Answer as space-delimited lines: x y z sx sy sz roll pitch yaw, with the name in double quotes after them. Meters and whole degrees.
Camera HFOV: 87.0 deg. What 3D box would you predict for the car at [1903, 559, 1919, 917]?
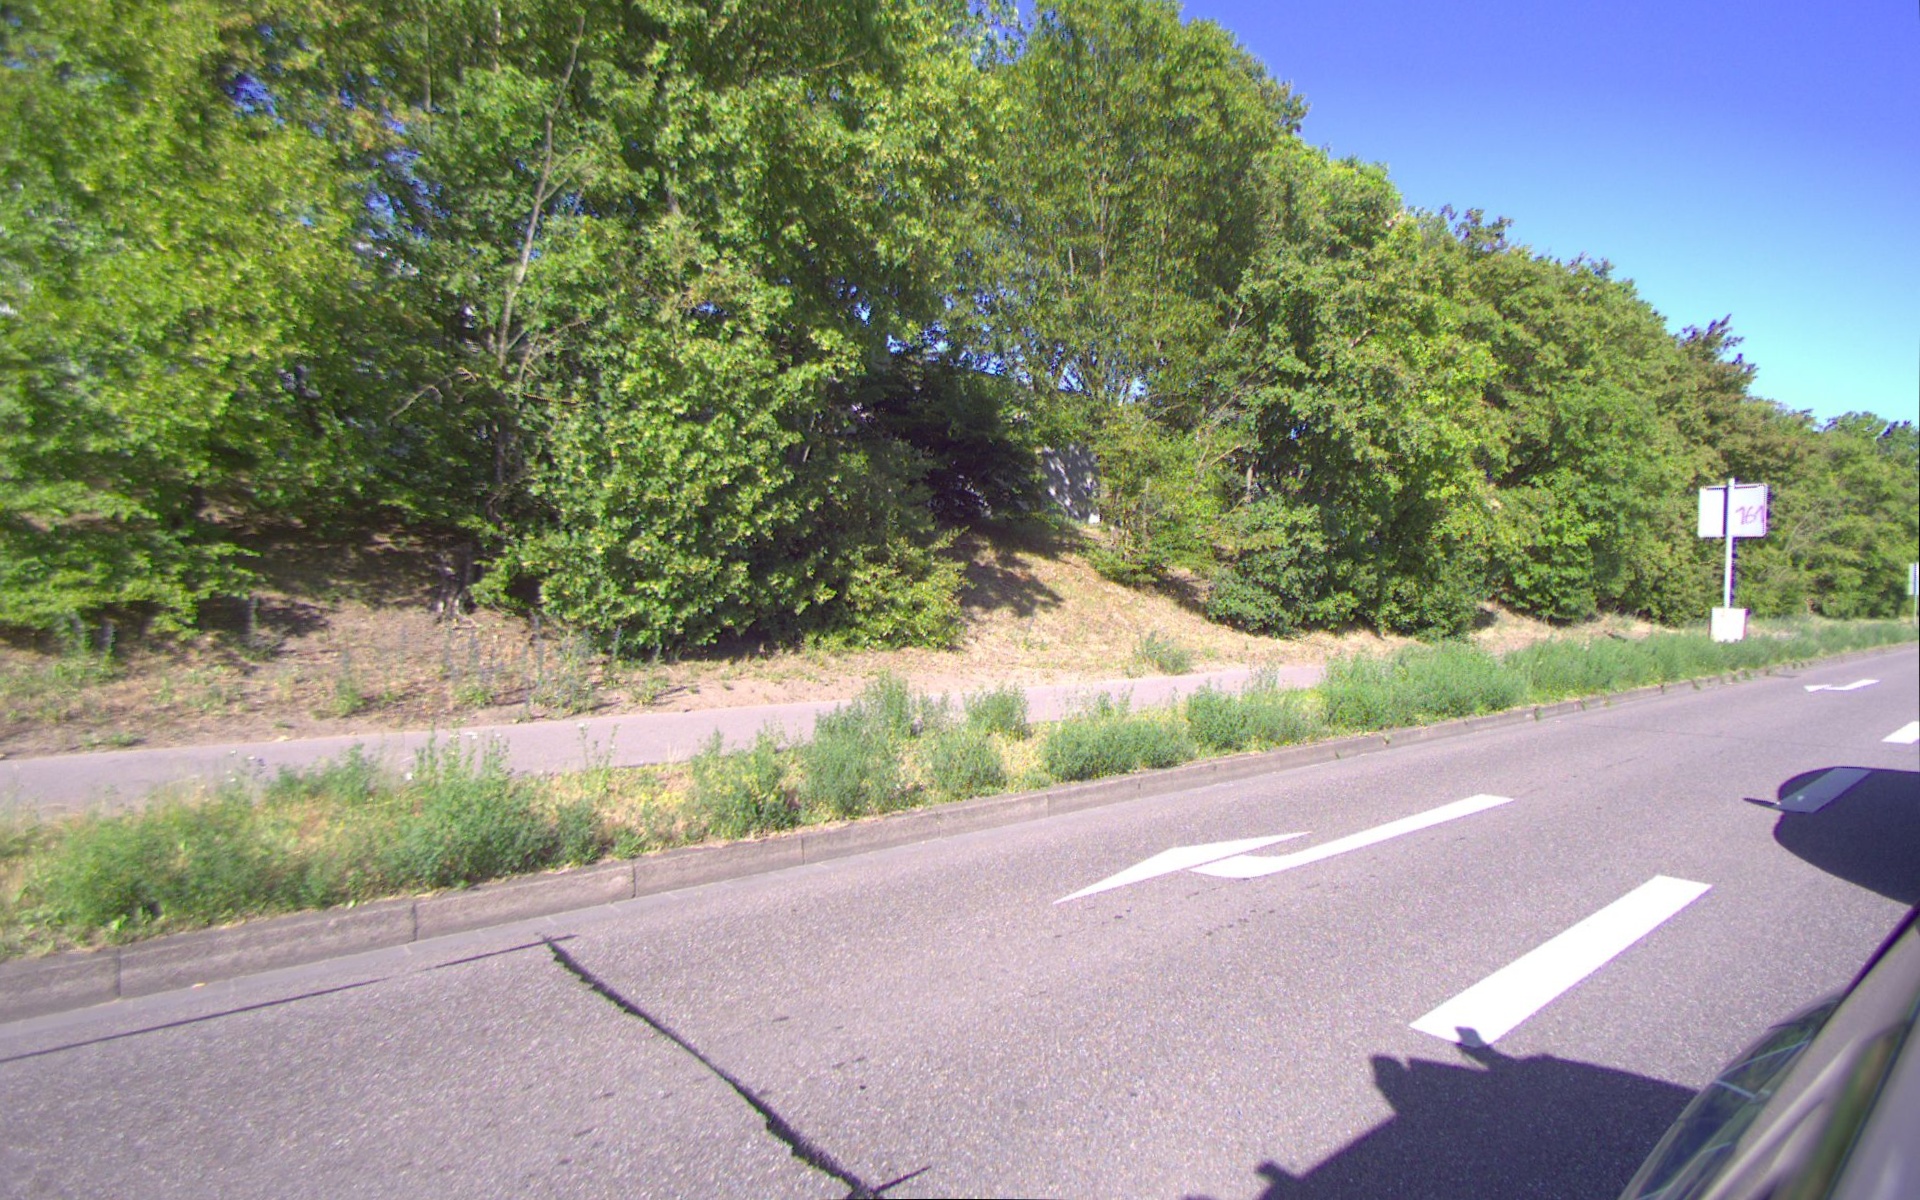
6.510 0.637 5.201 4.026 1.631 2.023 0 0 -41 "car"
